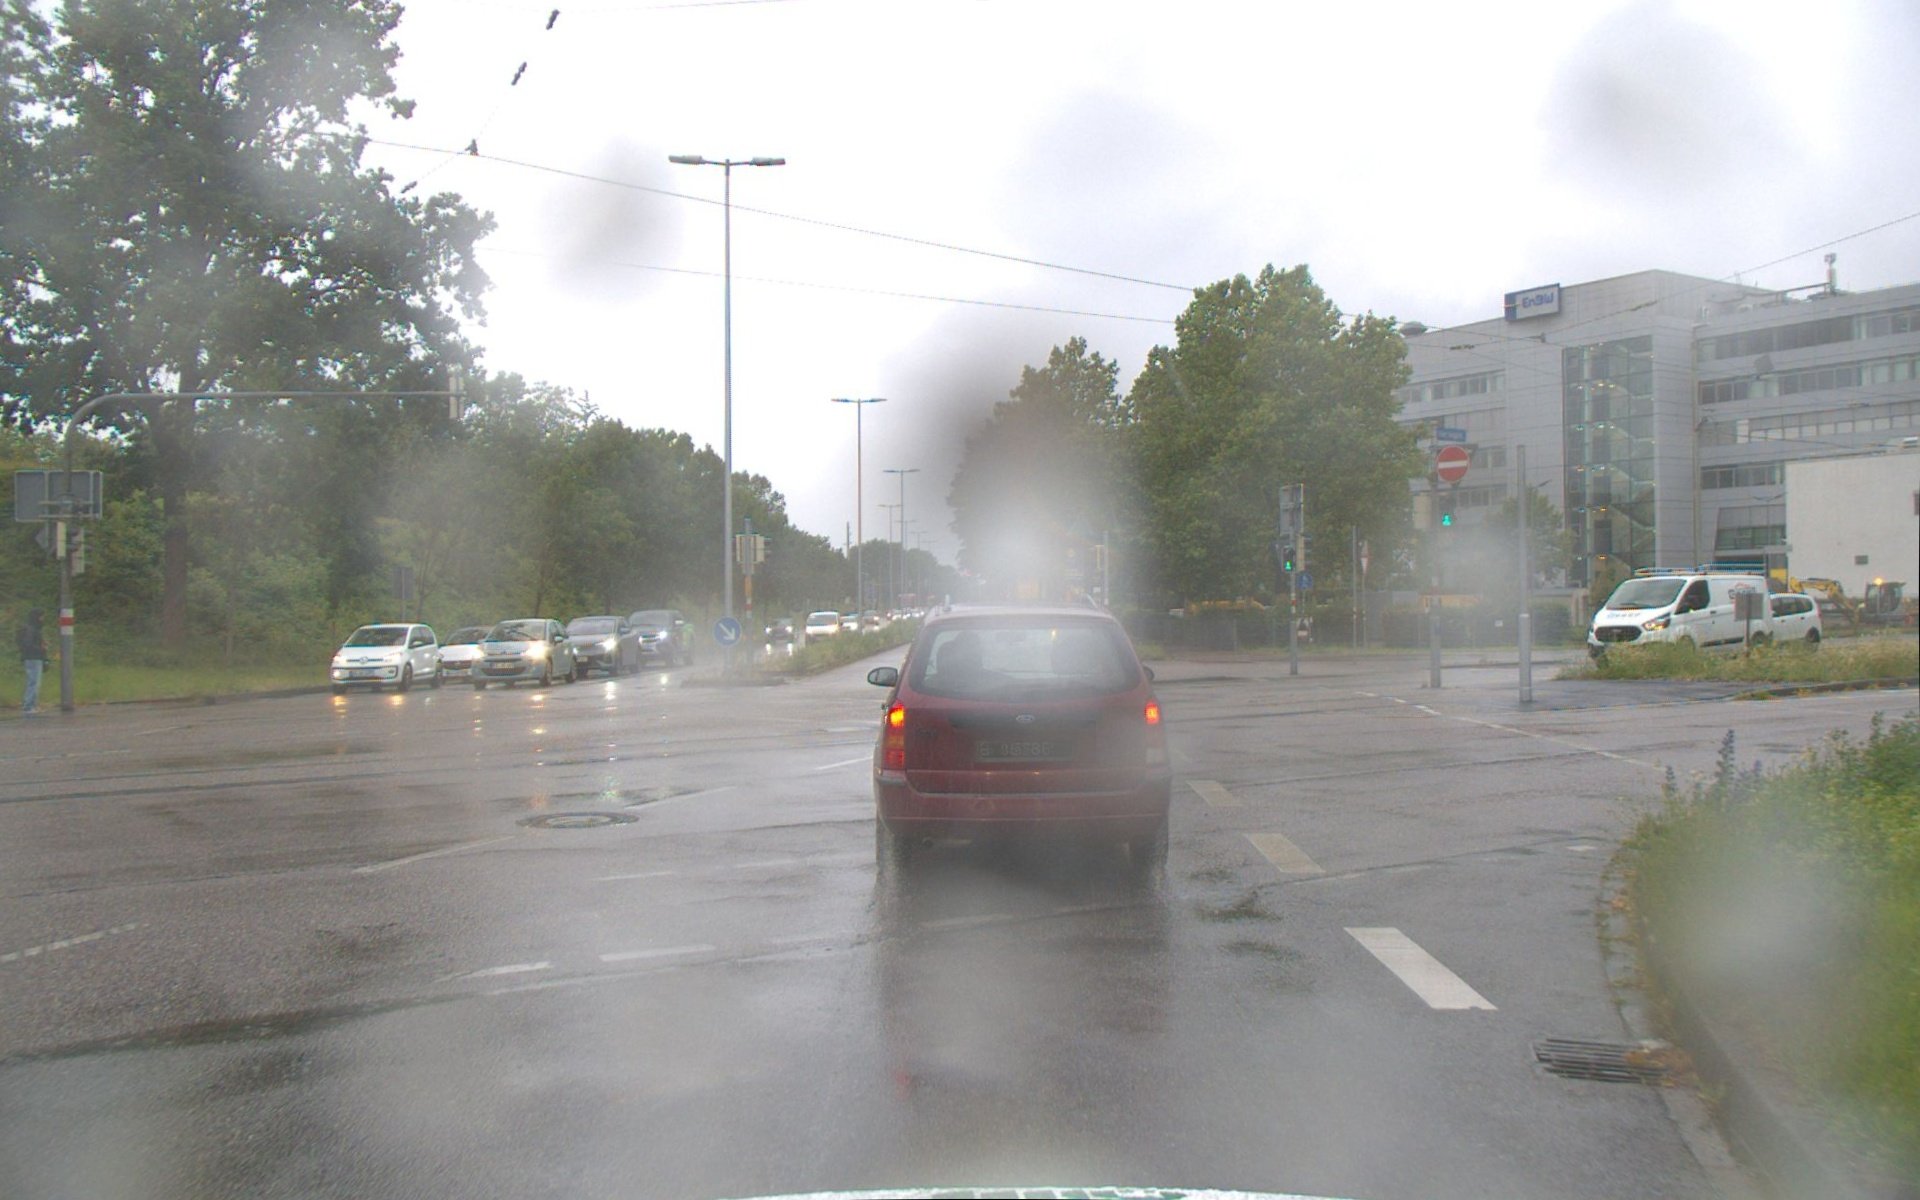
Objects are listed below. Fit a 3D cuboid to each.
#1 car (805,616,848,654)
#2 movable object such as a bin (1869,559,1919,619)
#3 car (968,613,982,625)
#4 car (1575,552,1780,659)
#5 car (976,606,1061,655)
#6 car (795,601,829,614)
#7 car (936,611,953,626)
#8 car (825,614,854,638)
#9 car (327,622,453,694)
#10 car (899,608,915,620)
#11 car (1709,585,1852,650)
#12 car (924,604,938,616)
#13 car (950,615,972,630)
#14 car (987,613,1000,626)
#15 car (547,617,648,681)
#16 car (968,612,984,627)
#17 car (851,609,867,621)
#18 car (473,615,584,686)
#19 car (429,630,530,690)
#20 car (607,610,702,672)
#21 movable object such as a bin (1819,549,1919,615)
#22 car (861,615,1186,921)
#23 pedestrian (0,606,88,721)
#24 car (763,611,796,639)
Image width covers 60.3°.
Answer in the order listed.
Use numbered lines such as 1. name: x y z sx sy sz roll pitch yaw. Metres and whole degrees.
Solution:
1. car: -6.572 1.727 81.698 1.708 1.732 4.283 -3 0 -1
2. movable object such as a bin: 50.886 -0.607 84.875 3.290 3.048 6.638 -1 -1 -35
3. car: 1.894 2.464 212.577 1.636 1.554 3.847 -1 -1 3
4. car: 15.424 0.121 35.478 4.638 2.163 1.974 0 -1 -37
5. car: 2.167 1.133 62.448 1.711 1.756 4.217 1 0 -21
6. car: -20.253 1.025 225.882 4.234 1.625 1.945 -1 -1 -35
7. car: -1.745 2.046 184.841 1.663 1.554 3.846 -1 -1 2
8. car: -9.325 2.020 128.615 1.923 1.732 4.283 -1 0 0
9. car: -12.778 1.261 37.293 1.605 1.478 3.786 -1 0 -2
10. car: -7.195 1.900 225.466 1.922 1.625 4.284 -1 0 0
11. car: 22.027 0.440 44.361 4.337 1.649 1.752 -1 -1 -38
12. car: -3.946 1.397 226.411 1.663 1.554 3.846 -1 -1 2
13. car: 0.127 2.316 170.009 2.102 1.554 4.194 -1 -1 3
14. car: 4.243 2.449 210.343 1.636 1.554 3.846 -1 -1 2
15. car: -9.819 1.305 45.164 1.726 1.614 4.812 -1 -1 -1
16. car: 1.731 2.122 176.368 1.663 1.554 3.846 -1 -1 2
17. car: -13.924 2.068 227.874 1.923 1.625 4.283 -1 0 0
18. car: -9.802 1.107 37.862 1.605 1.499 3.963 -1 0 -2
19. car: -12.636 1.555 43.711 1.558 1.428 3.822 -1 0 0
20. car: -9.795 1.272 53.424 2.023 1.851 5.540 -1 0 0
21. movable object such as a bin: 44.069 -0.847 80.064 3.291 3.048 3.290 -1 -1 -35
22. car: 0.315 0.863 10.201 1.608 1.490 3.732 1 0 0
23. pedestrian: -15.550 1.060 28.018 1.082 1.879 1.127 -1 -1 -11
24. car: -11.893 1.621 109.313 1.708 1.732 4.283 2 0 0
